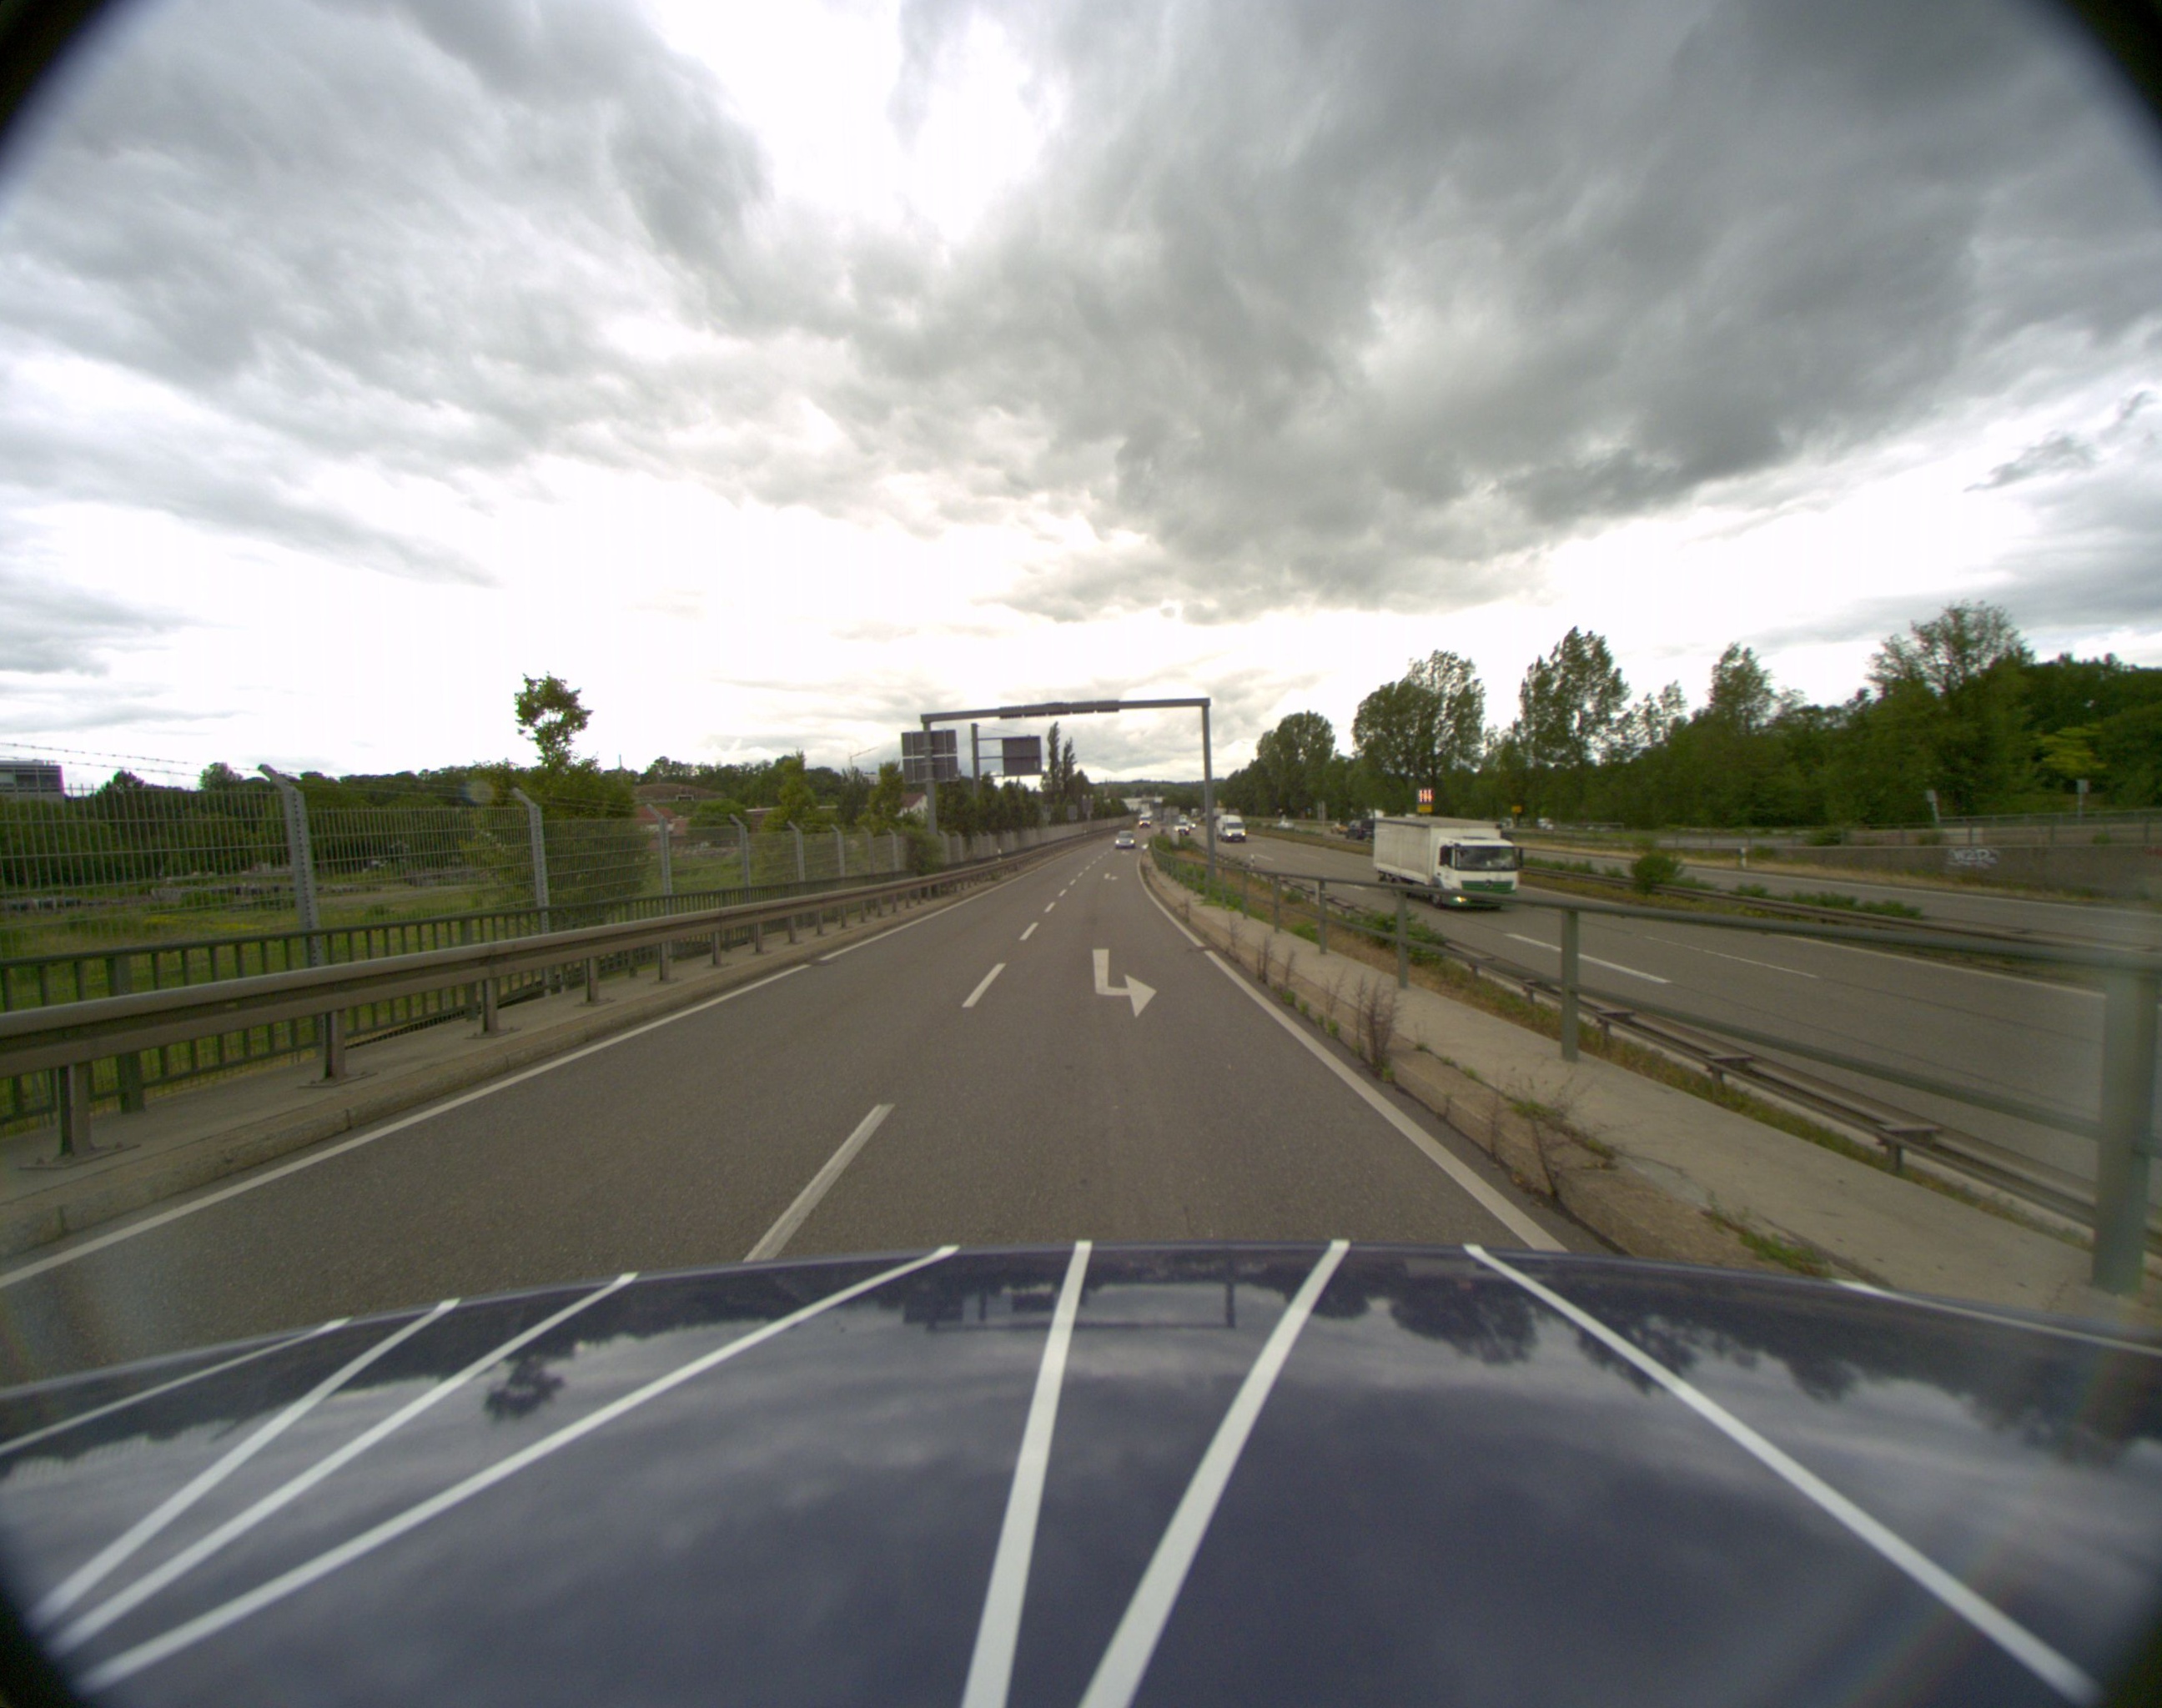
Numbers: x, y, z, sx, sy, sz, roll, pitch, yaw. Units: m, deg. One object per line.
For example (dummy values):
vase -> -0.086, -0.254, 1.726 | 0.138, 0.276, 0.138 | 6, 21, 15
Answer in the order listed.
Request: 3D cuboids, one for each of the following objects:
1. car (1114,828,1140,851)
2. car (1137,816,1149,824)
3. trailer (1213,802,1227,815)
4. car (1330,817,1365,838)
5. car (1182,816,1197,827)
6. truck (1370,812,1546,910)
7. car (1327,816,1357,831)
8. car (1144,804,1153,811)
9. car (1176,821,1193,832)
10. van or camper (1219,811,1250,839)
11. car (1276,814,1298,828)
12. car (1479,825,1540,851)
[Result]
car -> 4.355, -1.329, 71.545 | 1.997, 2.002, 4.003 | 0, 0, 9
car -> 11.740, -6.444, 143.718 | 1.998, 1.587, 3.998 | -1, 3, 0
trailer -> 44.782, -14.849, 245.295 | 2.796, 3.928, 13.507 | -3, 4, 4
car -> 28.195, -2.844, 80.571 | 2.097, 1.978, 5.112 | -1, 4, 2
car -> 18.288, -5.461, 128.365 | 1.998, 1.736, 3.998 | -1, 3, 2
truck -> 13.992, 0.033, 29.115 | 3.039, 3.142, 7.563 | -1, 4, 1
car -> 31.503, -3.675, 91.746 | 1.998, 1.710, 4.700 | -1, 4, 0
car -> 17.851, -12.308, 199.985 | 1.998, 1.794, 3.996 | -1, 5, 0
car -> 13.214, -3.535, 97.444 | 1.998, 1.392, 4.000 | -1, 3, 6
van or camper -> 15.652, -3.023, 77.747 | 2.209, 2.590, 6.326 | -2, 4, 4
car -> 30.339, -4.932, 112.116 | 1.998, 1.684, 4.698 | -1, 7, 1
car -> 31.841, -1.244, 56.661 | 1.998, 1.683, 4.701 | -1, 4, 3
